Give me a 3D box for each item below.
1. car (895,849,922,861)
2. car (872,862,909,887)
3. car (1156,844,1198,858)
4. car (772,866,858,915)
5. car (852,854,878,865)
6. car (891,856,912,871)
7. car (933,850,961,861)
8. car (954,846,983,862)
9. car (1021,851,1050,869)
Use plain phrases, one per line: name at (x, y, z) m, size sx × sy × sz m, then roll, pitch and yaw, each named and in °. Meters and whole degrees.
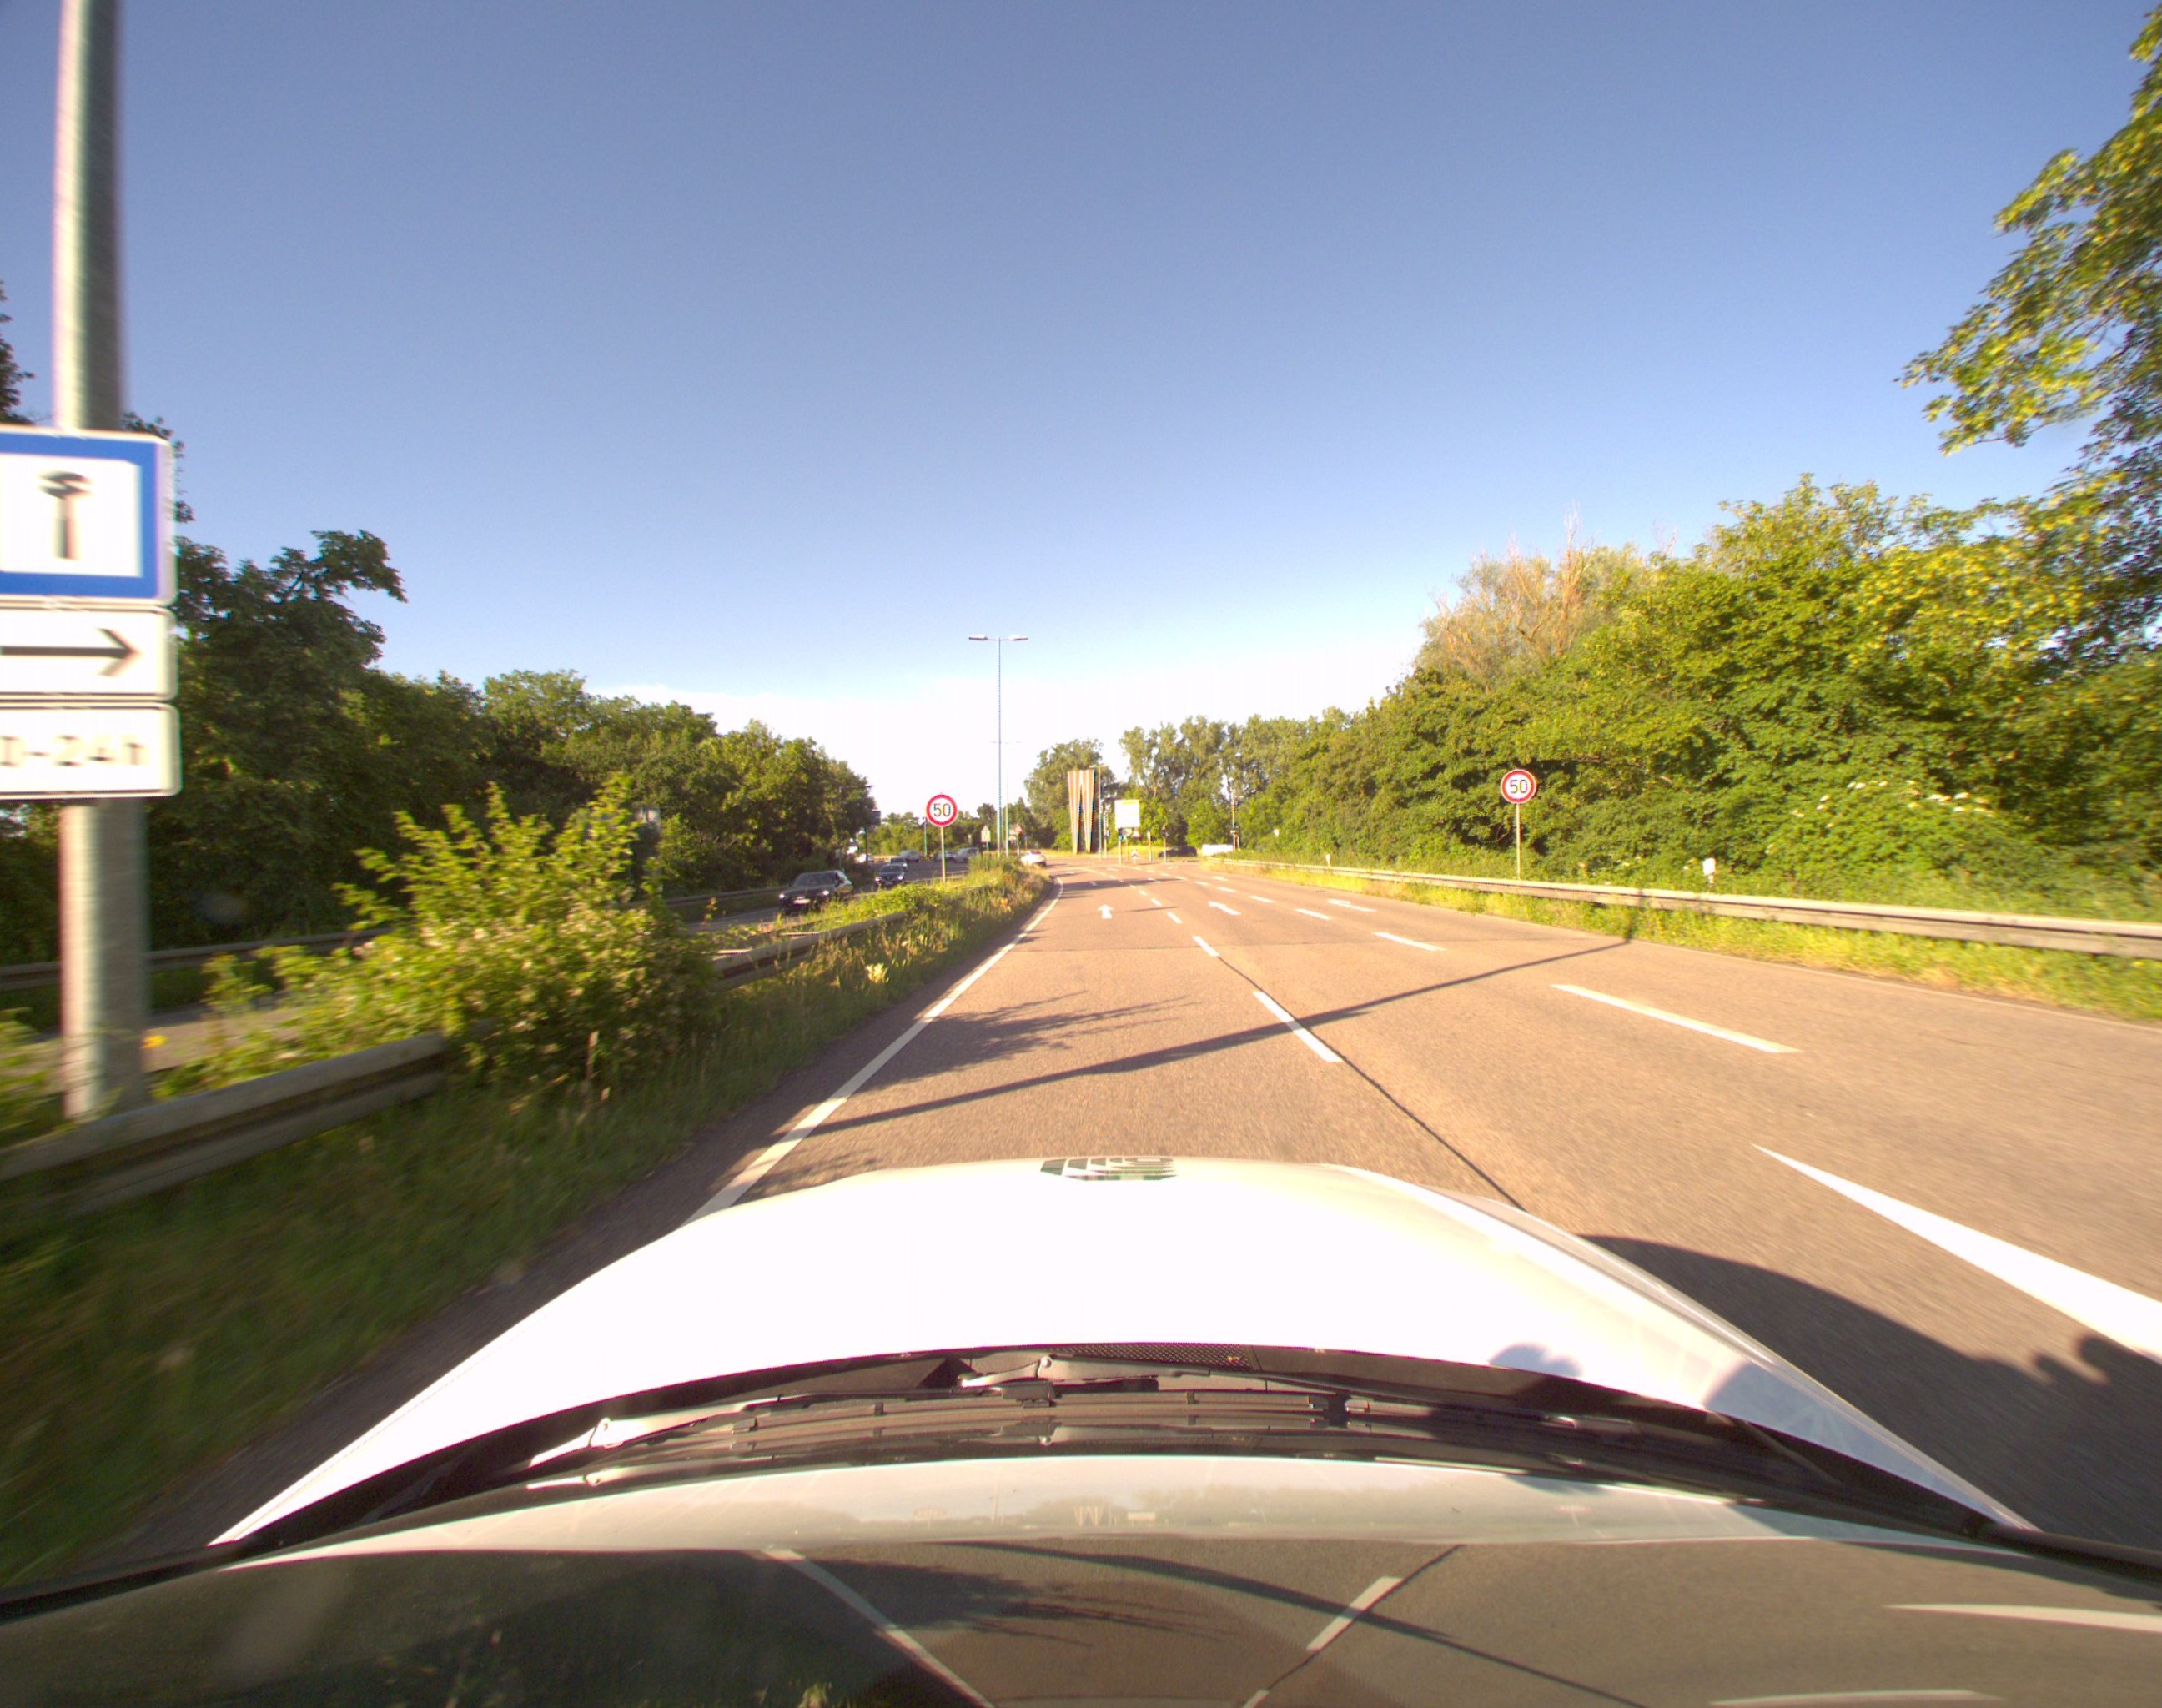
car at (-24.945, 0.123, 117.908) m, size 1.987 × 1.698 × 3.951 m, roll -3°, pitch 2°, yaw -44°
car at (-12.530, 1.327, 53.793) m, size 1.885 × 1.420 × 4.351 m, roll -4°, pitch 0°, yaw -9°
car at (10.903, -0.394, 92.560) m, size 4.454 × 1.464 × 1.995 m, roll -2°, pitch 1°, yaw -8°
car at (-9.171, 1.192, 28.455) m, size 1.802 × 1.416 × 4.523 m, roll -3°, pitch 0°, yaw -5°
car at (-35.100, 0.895, 132.109) m, size 3.950 × 1.508 × 2.287 m, roll -2°, pitch 0°, yaw 44°
car at (-19.228, 1.013, 87.155) m, size 1.889 × 1.520 × 4.194 m, roll -3°, pitch 1°, yaw -16°
car at (-19.049, 0.185, 115.893) m, size 1.987 × 1.474 × 4.104 m, roll -3°, pitch 2°, yaw -43°
car at (-14.328, -0.008, 103.620) m, size 2.007 × 1.879 × 4.206 m, roll -3°, pitch 1°, yaw -32°
car at (-4.664, 0.605, 82.301) m, size 1.998 × 1.640 × 4.105 m, roll -3°, pitch 1°, yaw -16°
